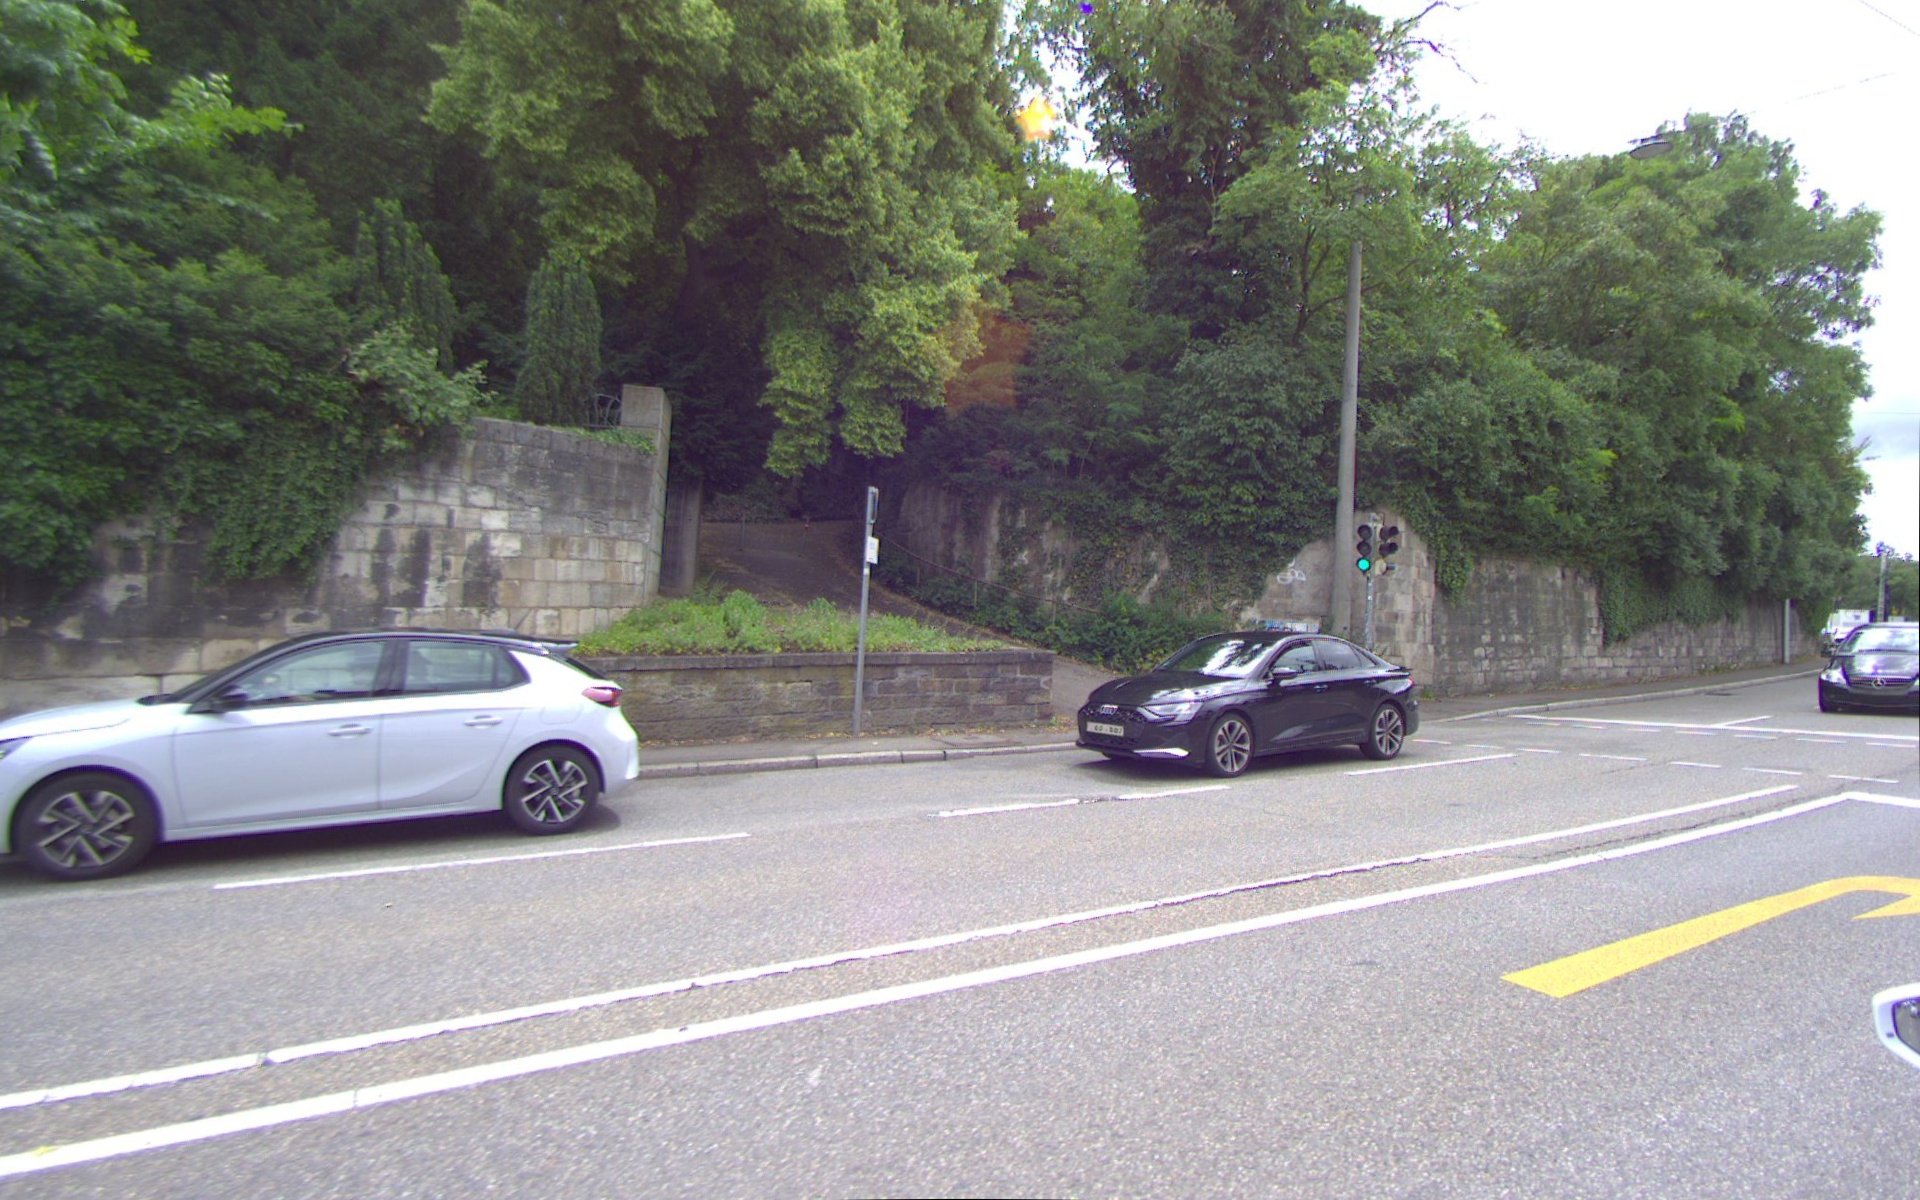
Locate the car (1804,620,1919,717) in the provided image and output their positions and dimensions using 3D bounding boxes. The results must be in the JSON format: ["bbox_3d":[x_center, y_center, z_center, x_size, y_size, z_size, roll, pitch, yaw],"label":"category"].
[{"bbox_3d":[16.834,1.193,18.102,3.646,1.587,1.741,2,-3,-38],"label":"car"}]

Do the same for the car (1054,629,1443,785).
[{"bbox_3d":[3.291,1.056,11.168,4.379,1.437,1.674,1,-3,-32],"label":"car"}]

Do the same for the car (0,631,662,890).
[{"bbox_3d":[-4.307,0.939,7.073,3.975,1.421,1.708,1,-2,-30],"label":"car"}]

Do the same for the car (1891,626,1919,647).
[{"bbox_3d":[78.266,2.996,82.341,1.812,1.722,3.996,0,-1,26],"label":"car"}]

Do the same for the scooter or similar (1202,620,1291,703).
[{"bbox_3d":[5.111,1.092,17.964,1.323,1.253,0.434,8,3,5],"label":"scooter or similar"}]
